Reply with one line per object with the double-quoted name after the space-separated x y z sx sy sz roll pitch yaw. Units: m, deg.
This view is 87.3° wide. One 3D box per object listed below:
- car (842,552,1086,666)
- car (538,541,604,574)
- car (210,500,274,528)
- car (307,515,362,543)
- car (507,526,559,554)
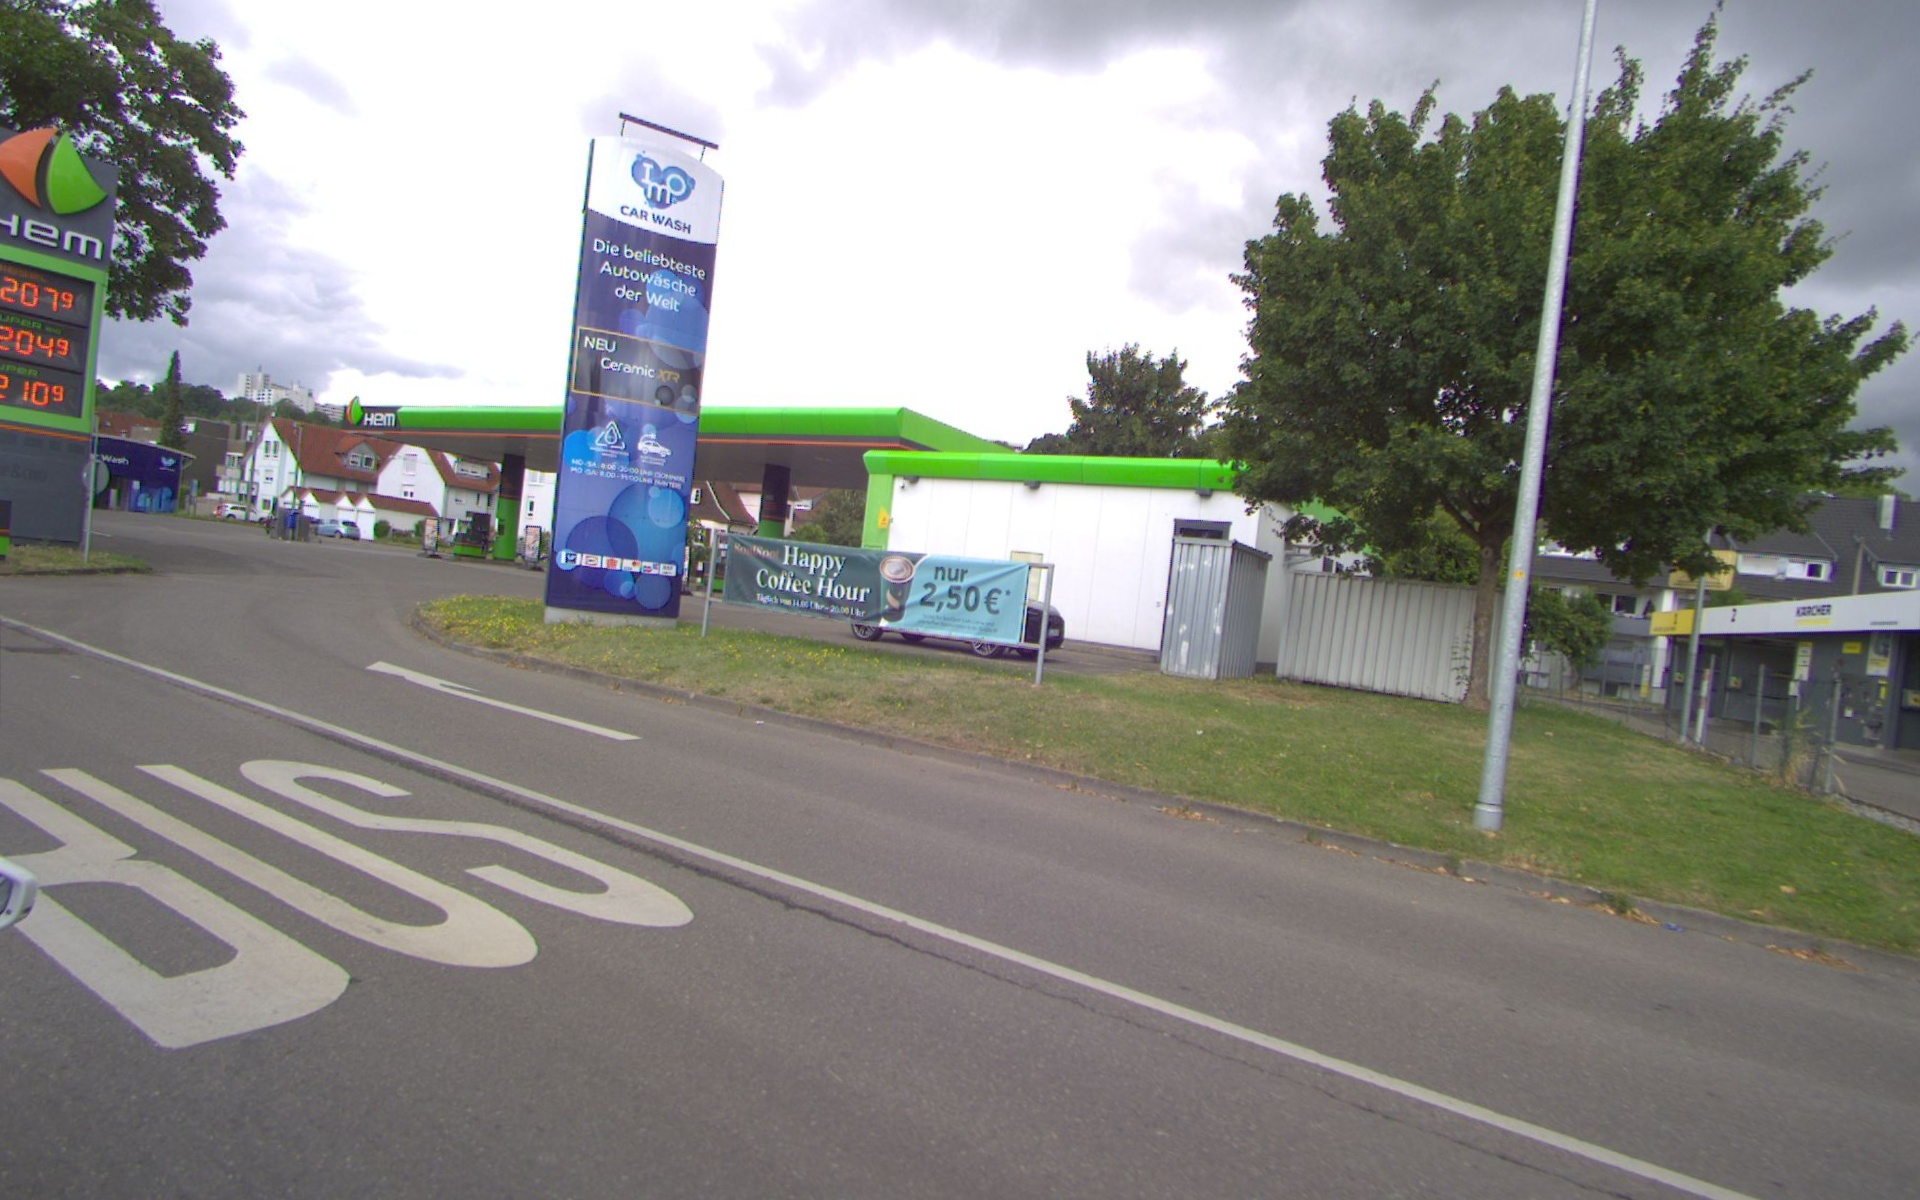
0.035 0.136 19.325 4.266 1.697 1.821 6 2 32 "car"
-27.206 -2.967 70.341 3.925 1.709 1.762 7 -1 20 "car"
-64.746 -7.723 90.748 1.747 1.703 4.226 7 -2 29 "car"
-48.300 -5.475 77.732 3.667 1.618 1.539 7 -1 20 "car"
-33.612 -4.735 79.235 3.934 1.705 1.691 7 1 32 "car"
